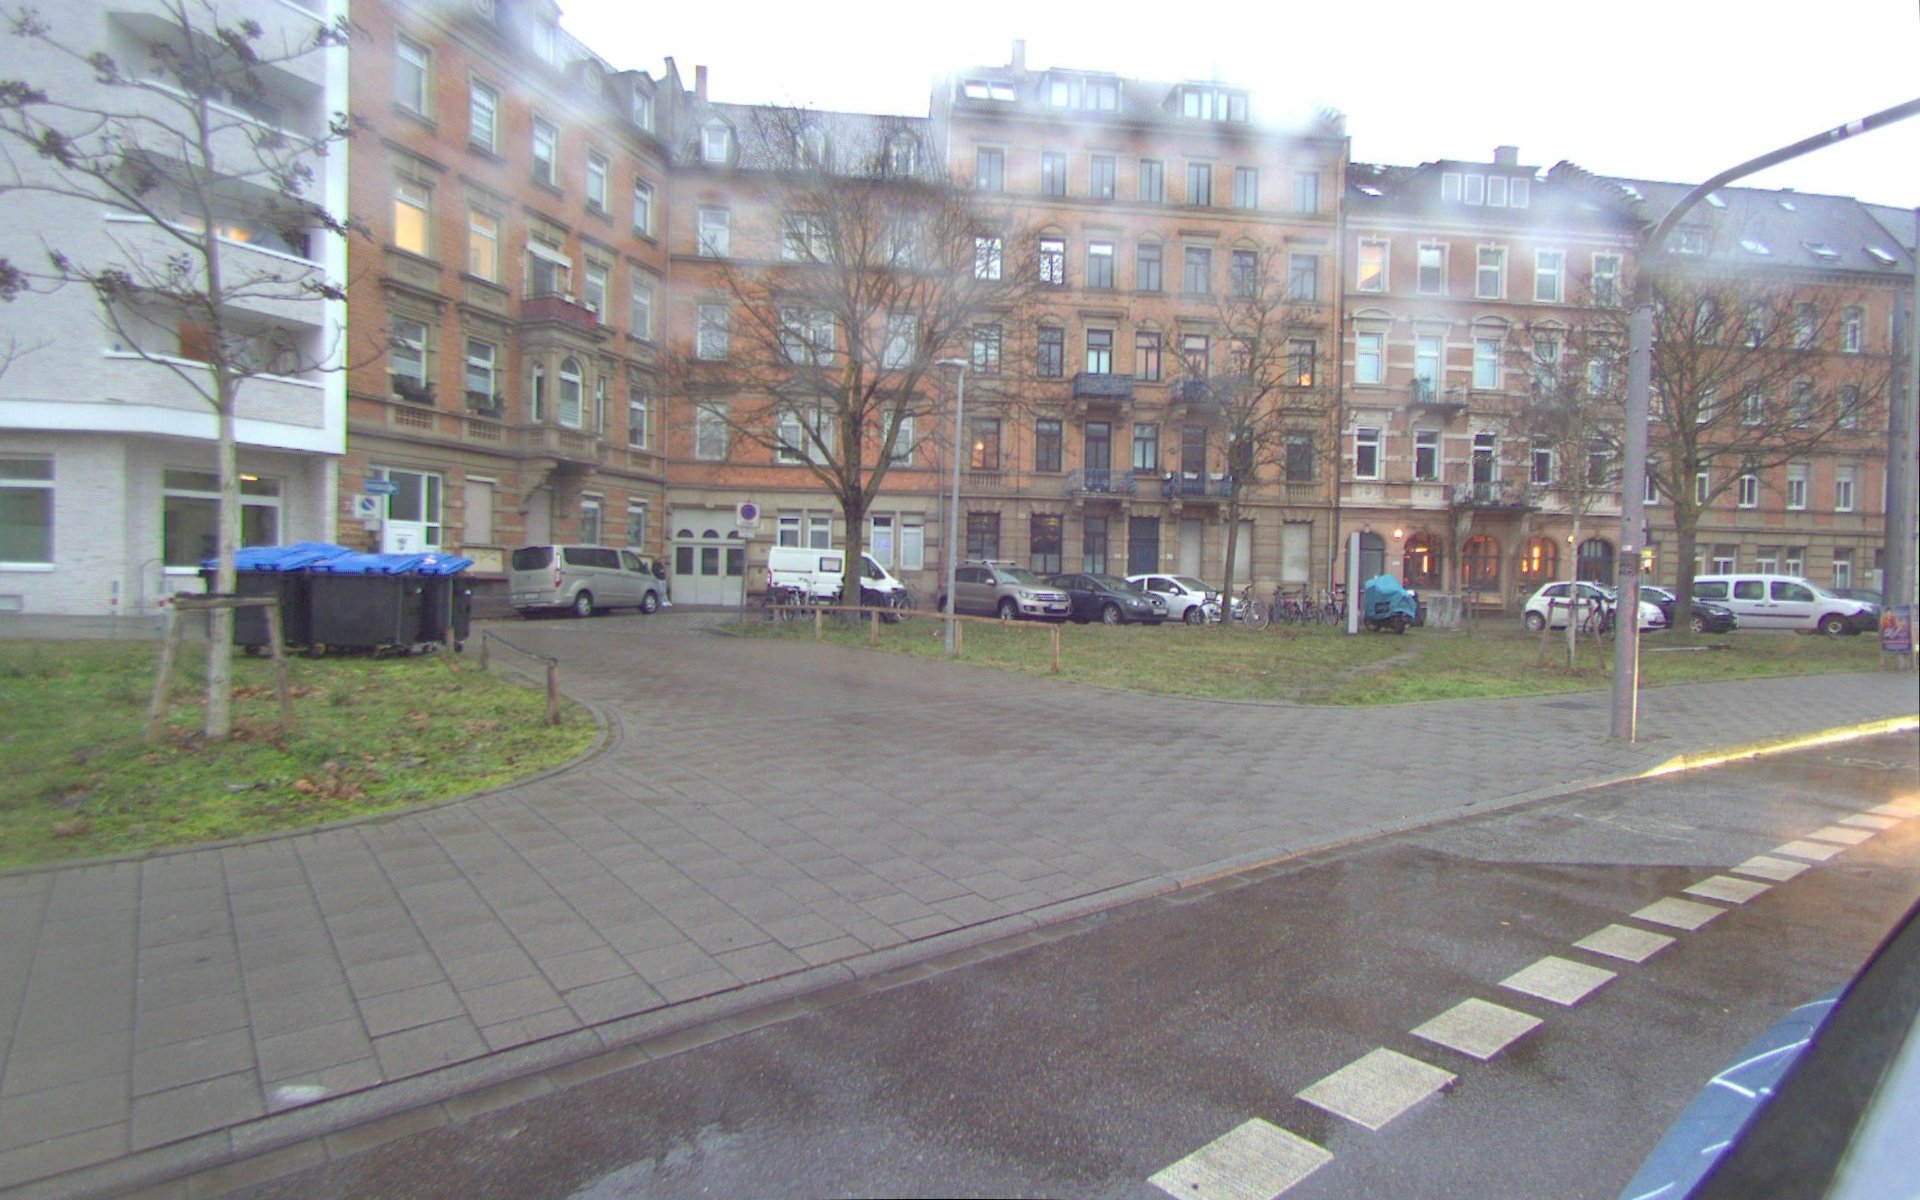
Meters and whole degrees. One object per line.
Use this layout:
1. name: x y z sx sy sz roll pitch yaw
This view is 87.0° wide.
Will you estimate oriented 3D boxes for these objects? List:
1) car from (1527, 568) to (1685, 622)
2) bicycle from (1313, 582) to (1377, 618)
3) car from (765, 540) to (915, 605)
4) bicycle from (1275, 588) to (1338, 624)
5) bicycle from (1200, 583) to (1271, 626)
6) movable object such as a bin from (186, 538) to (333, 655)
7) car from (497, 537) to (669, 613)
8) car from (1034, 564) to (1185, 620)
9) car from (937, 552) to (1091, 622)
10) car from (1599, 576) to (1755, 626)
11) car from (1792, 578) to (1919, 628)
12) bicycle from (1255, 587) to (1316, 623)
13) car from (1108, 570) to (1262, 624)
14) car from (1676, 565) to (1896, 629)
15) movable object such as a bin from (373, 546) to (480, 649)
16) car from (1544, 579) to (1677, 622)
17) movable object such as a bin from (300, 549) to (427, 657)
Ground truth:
1. car: 18.429 -0.133 28.984 1.583 1.461 3.467 1 0 -34
2. bicycle: 11.126 -0.017 29.310 0.613 0.978 2.176 1 2 -13
3. car: -4.101 -0.943 34.425 4.884 2.038 2.004 1 2 -8
4. bicycle: 10.043 0.164 29.419 0.613 0.978 2.175 3 -1 -13
5. bicycle: 6.633 0.105 24.422 1.628 0.948 0.512 2 1 15
6. movable object such as a bin: -9.653 -0.051 14.004 1.303 1.513 1.032 2 1 -3
7. car: -10.495 -0.611 28.590 1.976 1.943 4.715 -1 -1 21
8. car: 3.873 -0.200 26.647 1.649 1.372 3.737 2 0 -42
9. car: 1.333 -0.405 26.494 1.908 1.656 3.999 -1 3 -37
10. car: 21.008 0.007 29.727 1.634 1.368 3.430 1 0 -39
11. car: 27.112 0.124 29.486 1.737 1.250 4.066 2 3 -35
12. bicycle: 9.404 0.140 29.294 0.613 0.978 2.175 3 -1 -13
13. car: 6.058 -0.124 27.554 1.669 1.353 3.852 0 1 -42
14. car: 24.070 -0.149 29.669 1.745 1.611 4.663 0 3 -37
15. movable object such as a bin: -8.044 -0.025 15.308 1.022 1.509 1.035 0 -1 6
16. car: 24.209 0.041 37.725 3.967 1.520 1.740 1 -1 -9
17. movable object such as a bin: -8.342 0.021 14.207 1.200 1.433 1.018 1 2 -3
